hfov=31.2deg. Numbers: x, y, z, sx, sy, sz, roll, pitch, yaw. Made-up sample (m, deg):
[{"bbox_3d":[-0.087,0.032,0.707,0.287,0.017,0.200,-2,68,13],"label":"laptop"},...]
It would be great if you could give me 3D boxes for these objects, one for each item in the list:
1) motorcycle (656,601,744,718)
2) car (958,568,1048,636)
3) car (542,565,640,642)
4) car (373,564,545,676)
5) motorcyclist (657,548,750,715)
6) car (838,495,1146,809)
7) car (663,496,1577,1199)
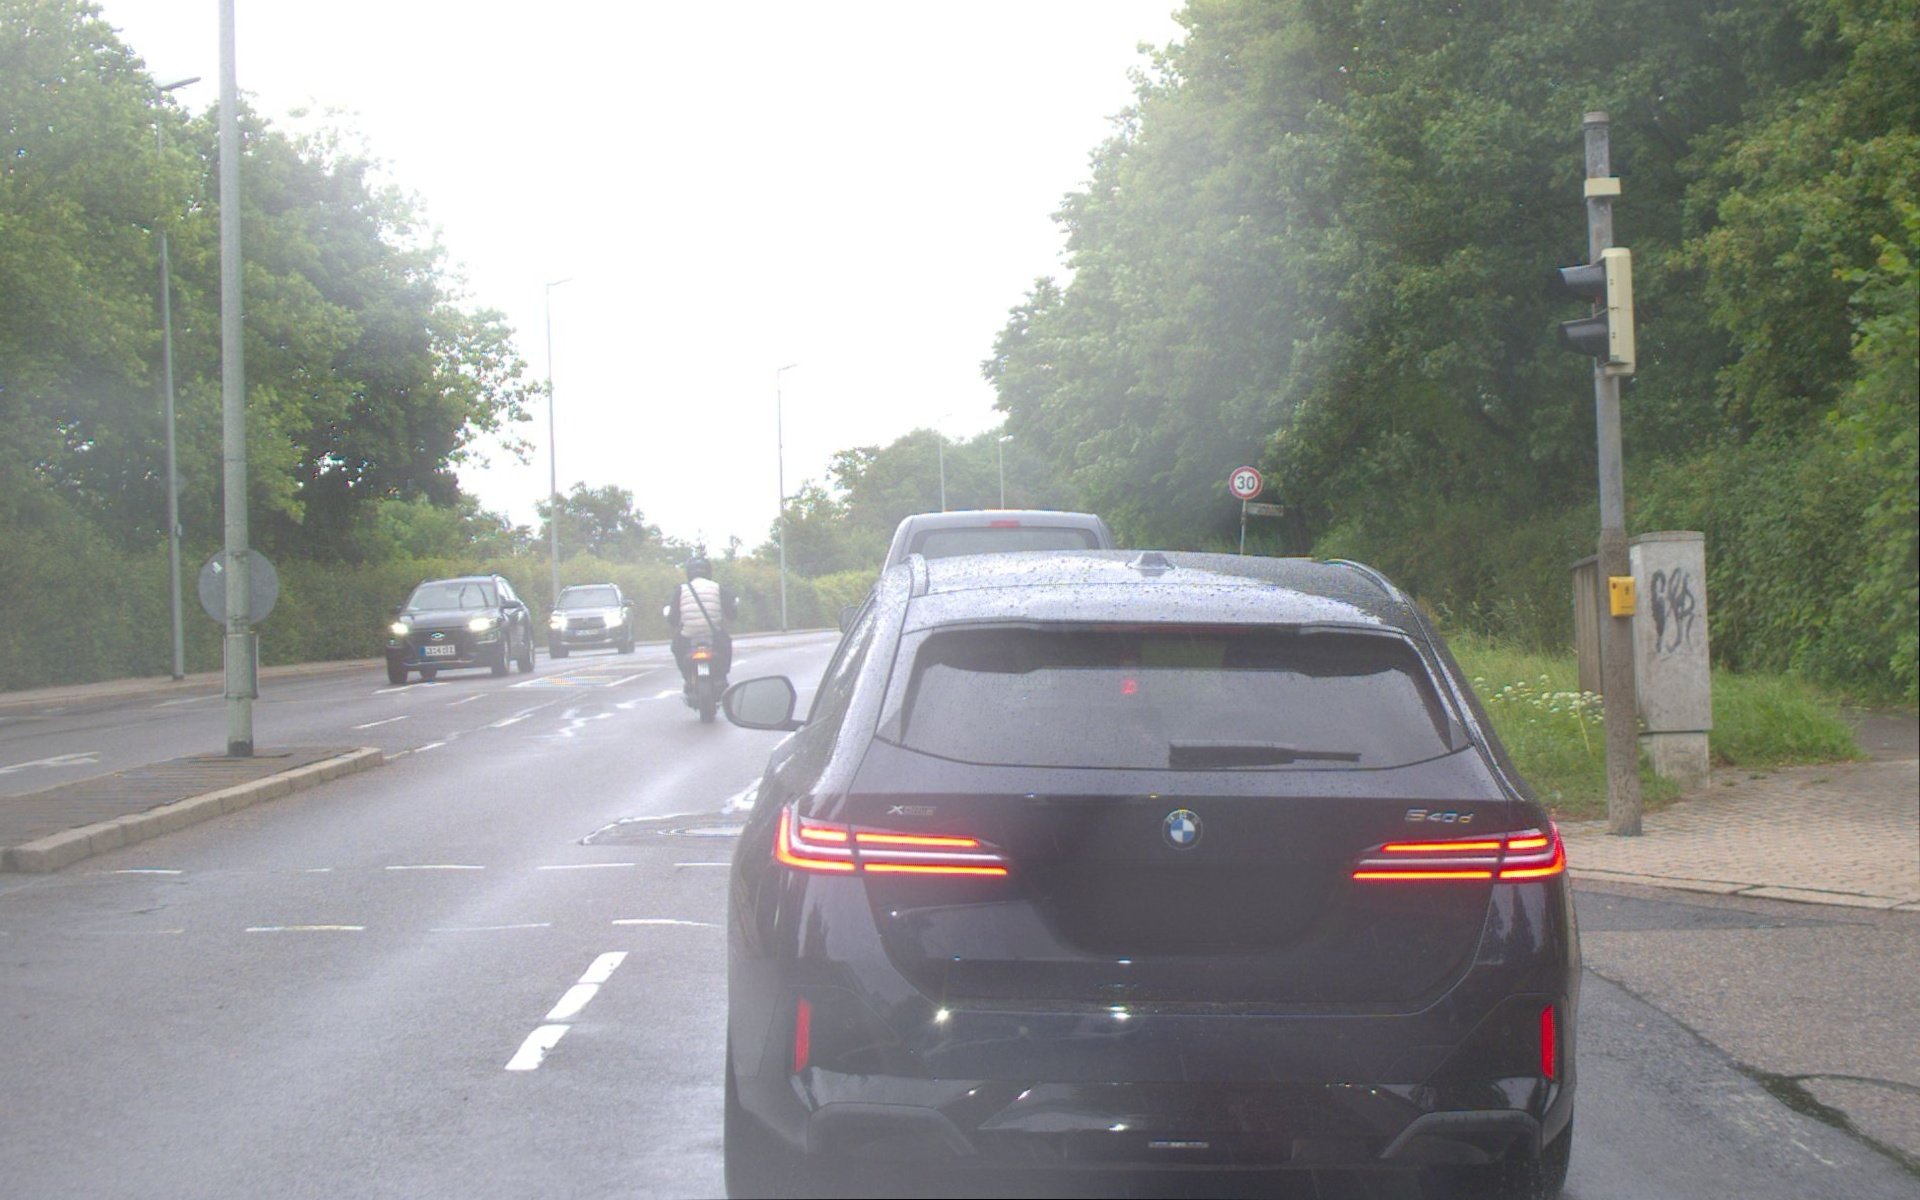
[{"bbox_3d":[-2.604,0.586,34.517,0.741,1.115,1.426,-1,1,1],"label":"motorcycle"},{"bbox_3d":[1.001,0.022,79.523,2.015,1.410,4.486,-1,2,1],"label":"car"},{"bbox_3d":[-8.239,0.059,77.007,1.795,1.597,3.732,-3,1,-1],"label":"car"},{"bbox_3d":[-7.660,0.277,52.911,2.025,1.558,3.877,-3,1,0],"label":"car"},{"bbox_3d":[-2.576,0.310,34.575,0.845,1.641,0.468,-1,1,1],"label":"motorcyclist"},{"bbox_3d":[0.215,0.249,21.954,1.767,1.804,3.905,-1,2,1],"label":"car"},{"bbox_3d":[0.339,0.552,8.545,1.764,1.531,3.673,-1,1,1],"label":"car"}]
